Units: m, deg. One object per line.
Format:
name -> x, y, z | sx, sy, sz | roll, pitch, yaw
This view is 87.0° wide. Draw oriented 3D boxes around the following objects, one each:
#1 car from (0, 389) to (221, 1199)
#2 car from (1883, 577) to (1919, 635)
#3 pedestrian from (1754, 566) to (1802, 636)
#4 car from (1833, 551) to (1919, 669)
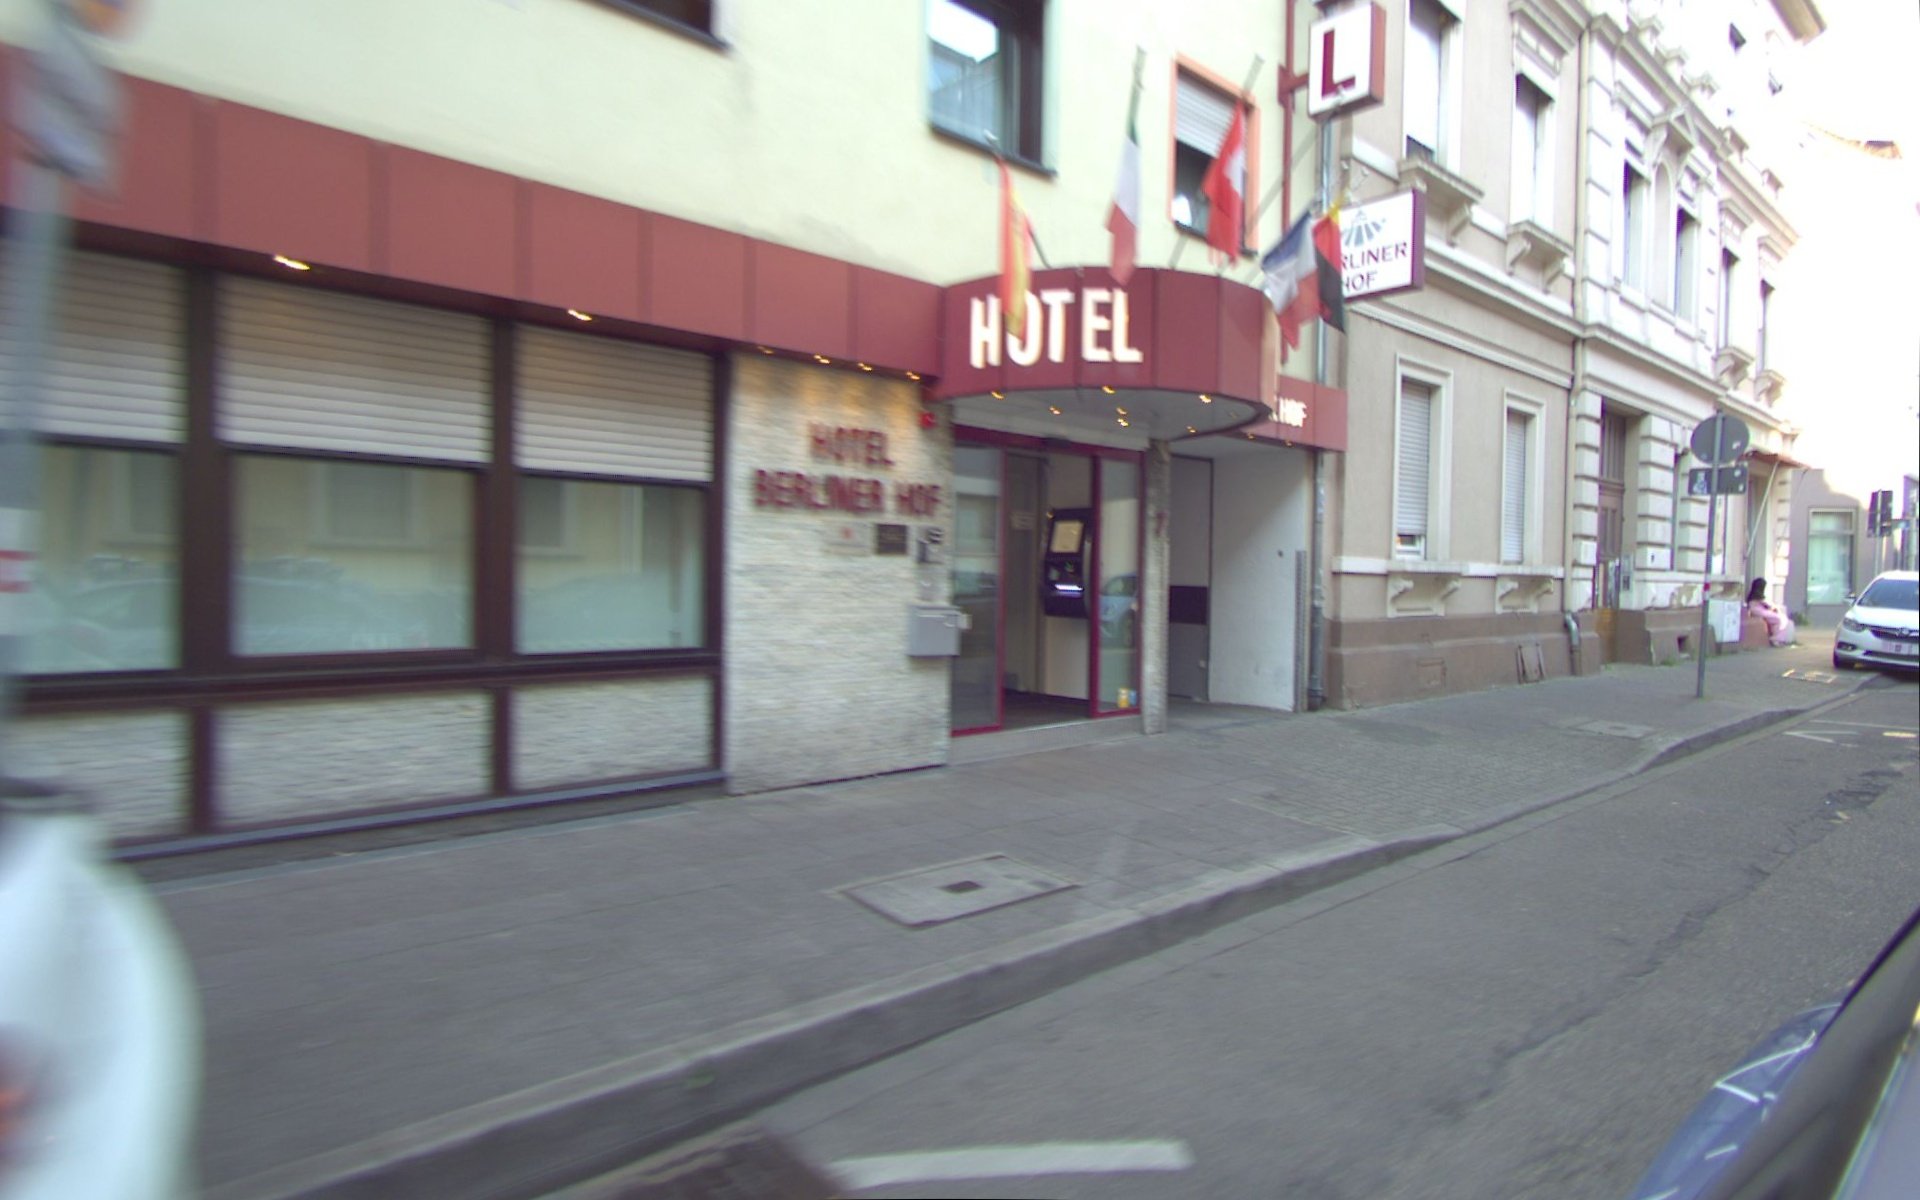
car -> -2.619, 0.607, 0.530 | 3.526, 1.598, 1.573 | -1, 2, -40
car -> 24.508, 0.149, 23.364 | 1.647, 1.421, 4.480 | -1, 1, -19
pedestrian -> 17.240, 0.003, 21.335 | 0.475, 1.441, 0.696 | -1, 1, -38
car -> 16.105, 0.151, 16.599 | 4.280, 1.714, 1.843 | -1, 6, -39
